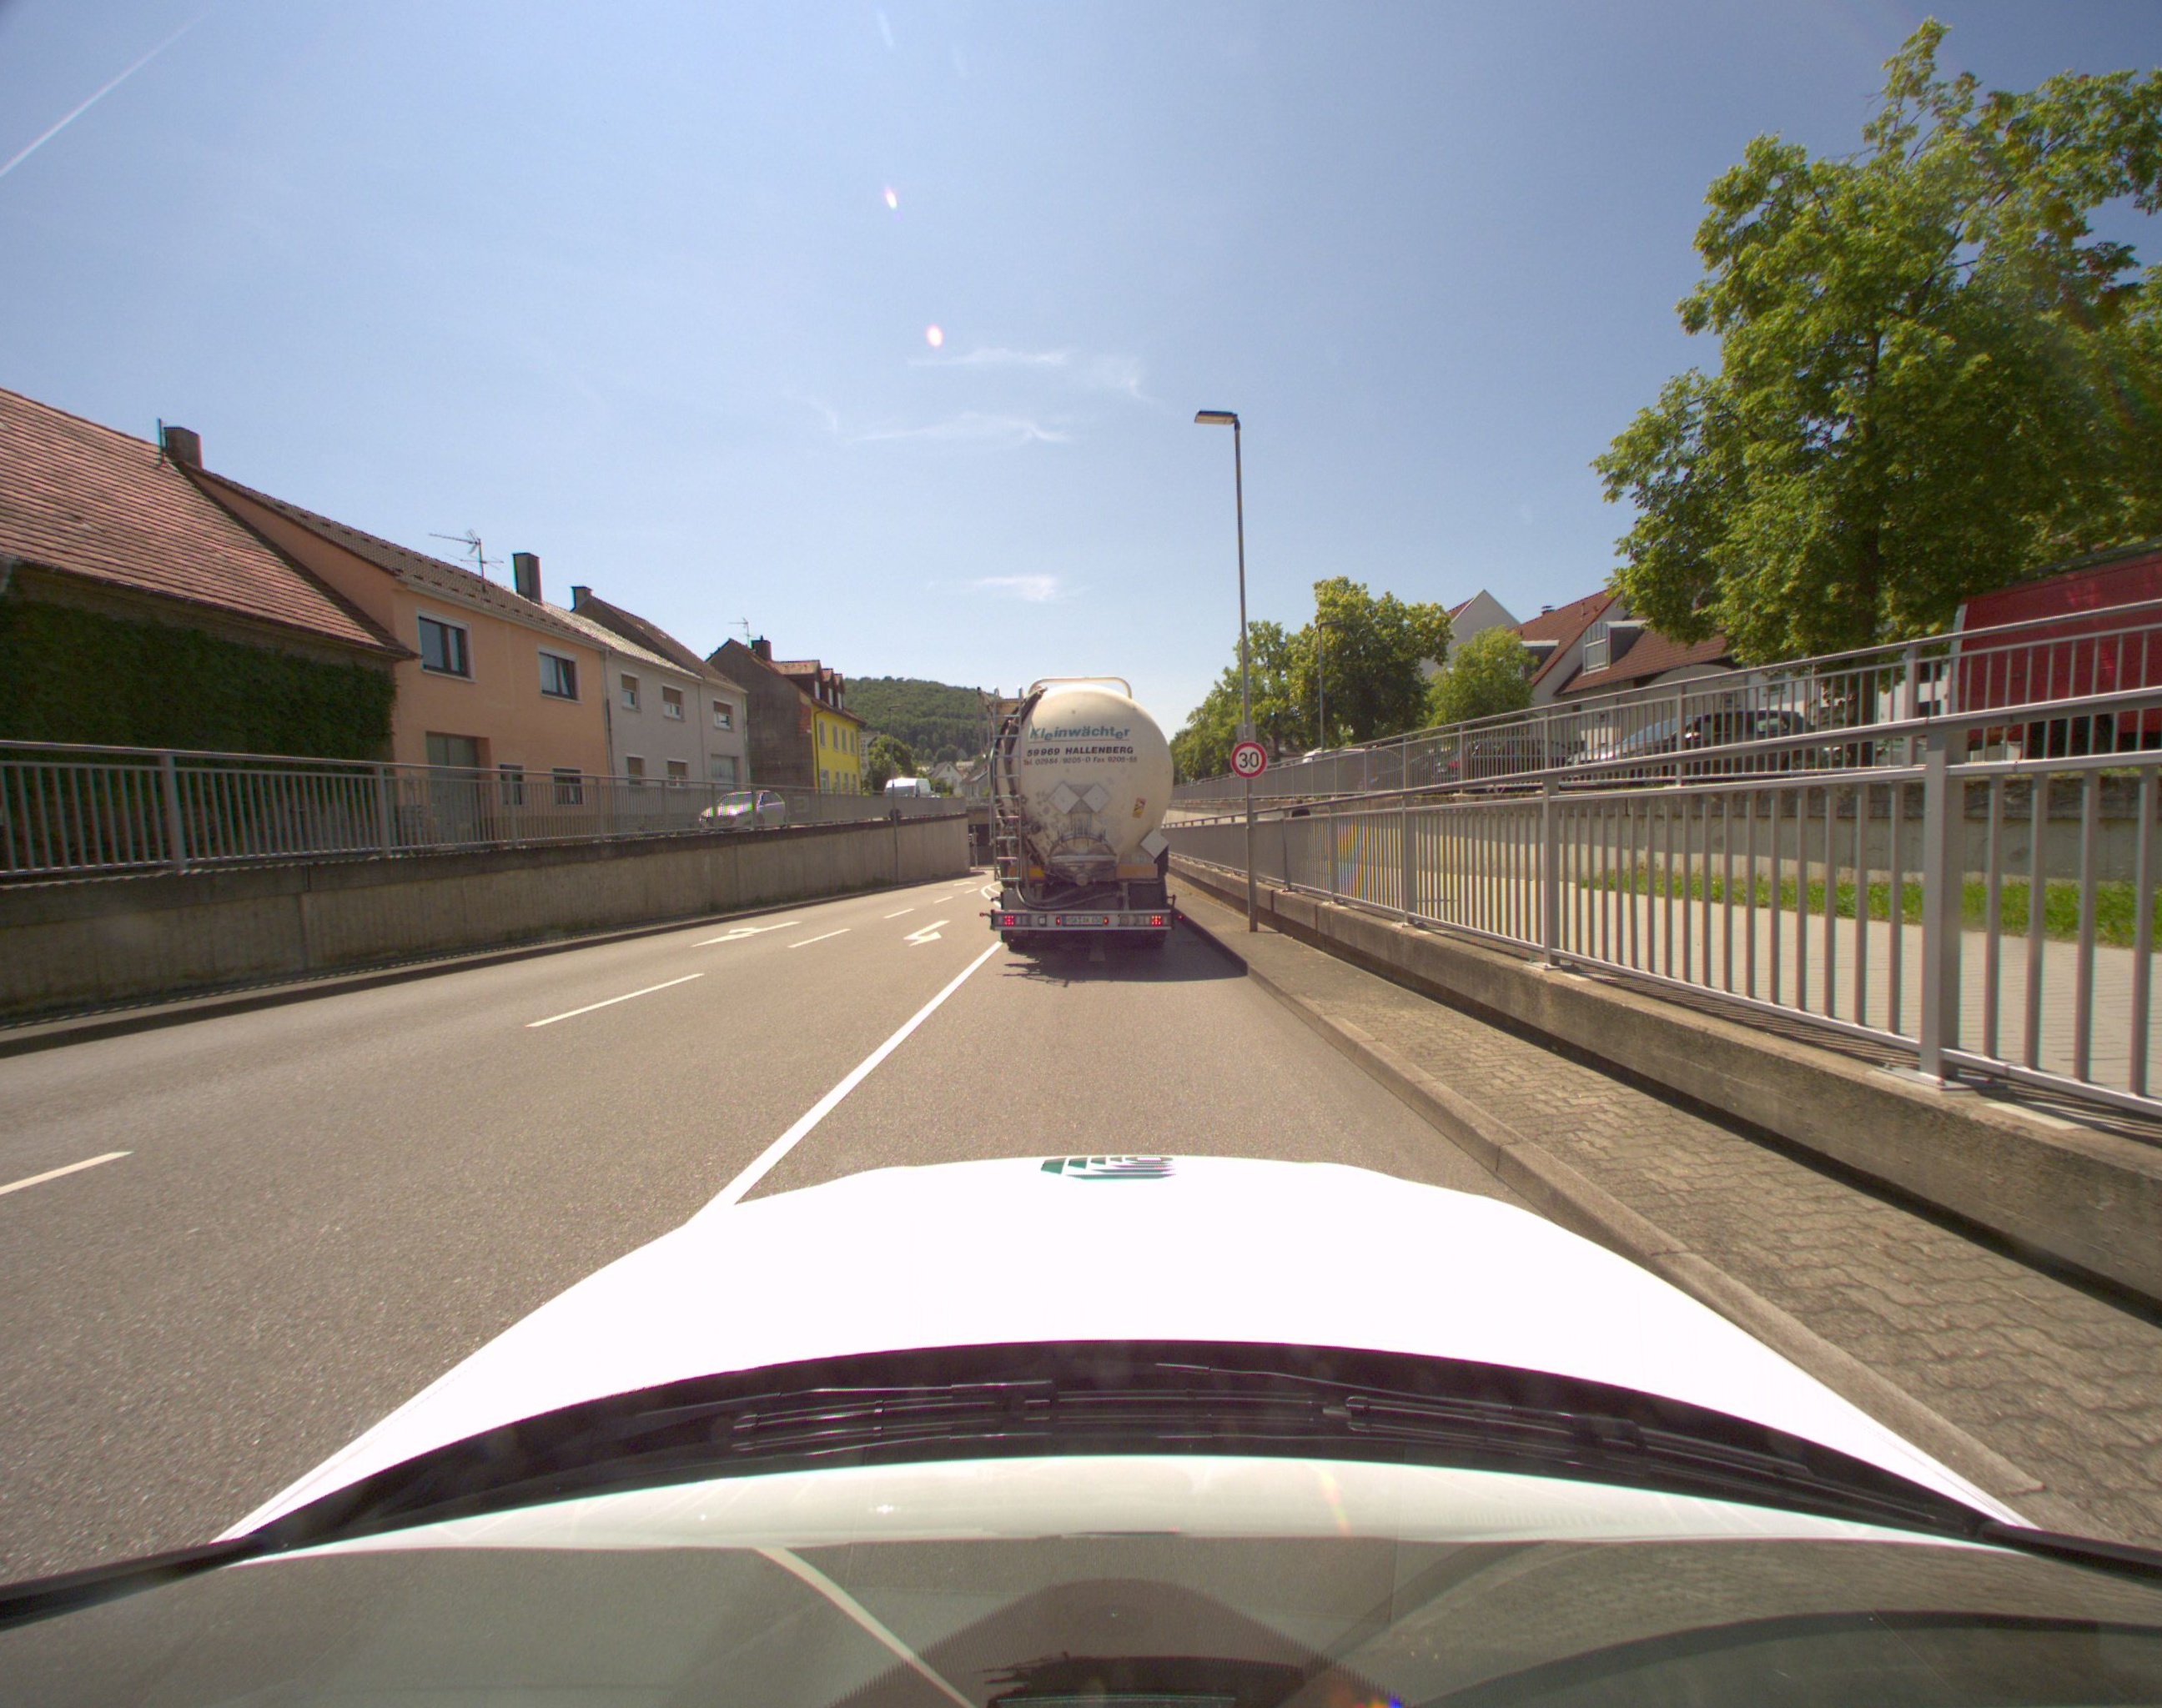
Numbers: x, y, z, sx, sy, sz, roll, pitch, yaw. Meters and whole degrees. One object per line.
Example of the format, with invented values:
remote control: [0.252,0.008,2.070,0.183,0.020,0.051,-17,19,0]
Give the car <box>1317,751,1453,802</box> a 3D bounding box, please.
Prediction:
car: [10.703,-2.722,28.839,4.188,1.595,1.687,-2,3,1]

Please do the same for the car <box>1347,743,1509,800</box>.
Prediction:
car: [10.615,-2.518,25.104,4.269,1.498,1.750,-2,3,1]

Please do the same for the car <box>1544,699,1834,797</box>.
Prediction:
car: [10.938,-1.880,14.864,3.972,1.498,1.750,-2,3,1]

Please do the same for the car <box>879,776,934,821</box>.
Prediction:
car: [-10.508,-3.354,49.485,2.058,2.535,5.663,0,3,0]

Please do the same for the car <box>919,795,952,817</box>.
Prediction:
car: [-10.407,-3.411,58.380,1.613,1.500,4.045,0,3,0]

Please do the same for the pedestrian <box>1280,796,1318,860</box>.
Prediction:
pedestrian: [6.269,-0.751,23.423,0.833,1.781,0.789,-2,1,1]

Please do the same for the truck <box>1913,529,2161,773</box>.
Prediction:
truck: [11.950,-2.118,8.045,2.125,2.333,5.261,-2,3,0]

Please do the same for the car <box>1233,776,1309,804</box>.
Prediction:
car: [10.713,-3.604,46.100,3.891,1.367,1.687,-2,3,1]

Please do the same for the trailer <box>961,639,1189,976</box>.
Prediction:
trailer: [0.151,-0.587,16.554,2.724,4.064,13.318,-1,0,2]

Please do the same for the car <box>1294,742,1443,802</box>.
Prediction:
car: [11.100,-3.143,31.665,5.093,2.063,1.990,-2,3,1]

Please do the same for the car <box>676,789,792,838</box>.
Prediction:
car: [-11.122,-1.343,26.462,1.807,1.462,4.312,-1,3,1]

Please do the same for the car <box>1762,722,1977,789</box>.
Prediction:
car: [22.264,-2.760,23.118,4.390,1.489,1.758,-4,3,1]

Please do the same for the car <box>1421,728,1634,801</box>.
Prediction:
car: [10.575,-2.096,19.491,4.188,1.498,1.687,-2,3,1]

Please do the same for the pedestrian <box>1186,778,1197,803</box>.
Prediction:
pedestrian: [8.030,-4.652,59.335,0.670,1.779,0.595,-2,3,2]
